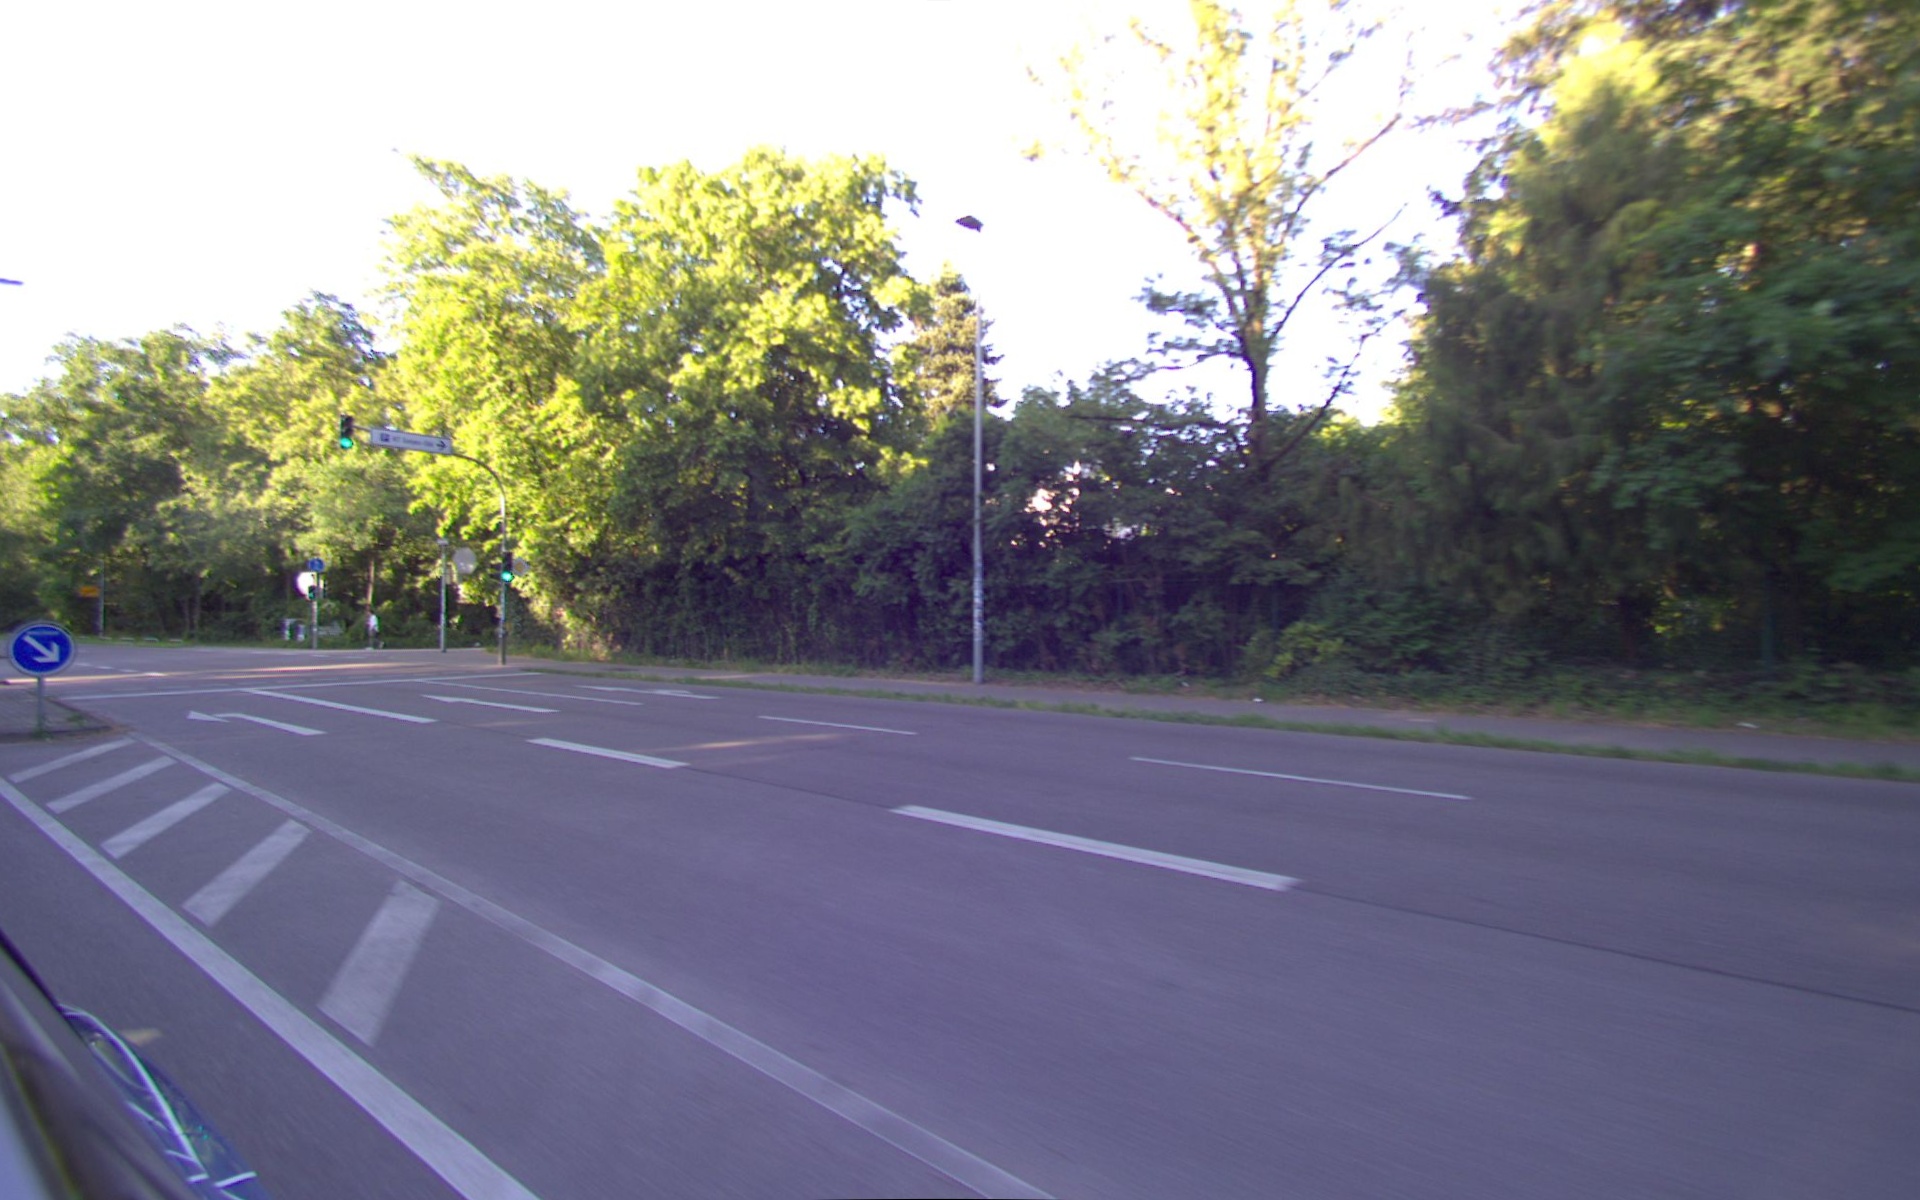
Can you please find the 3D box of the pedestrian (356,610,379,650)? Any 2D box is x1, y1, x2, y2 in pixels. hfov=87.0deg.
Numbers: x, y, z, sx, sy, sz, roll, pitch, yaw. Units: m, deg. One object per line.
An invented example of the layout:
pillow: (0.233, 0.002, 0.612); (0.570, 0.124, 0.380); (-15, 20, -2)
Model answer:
pedestrian: (-25.902, 1.296, 44.241); (0.639, 1.724, 0.822); (0, -1, -14)
